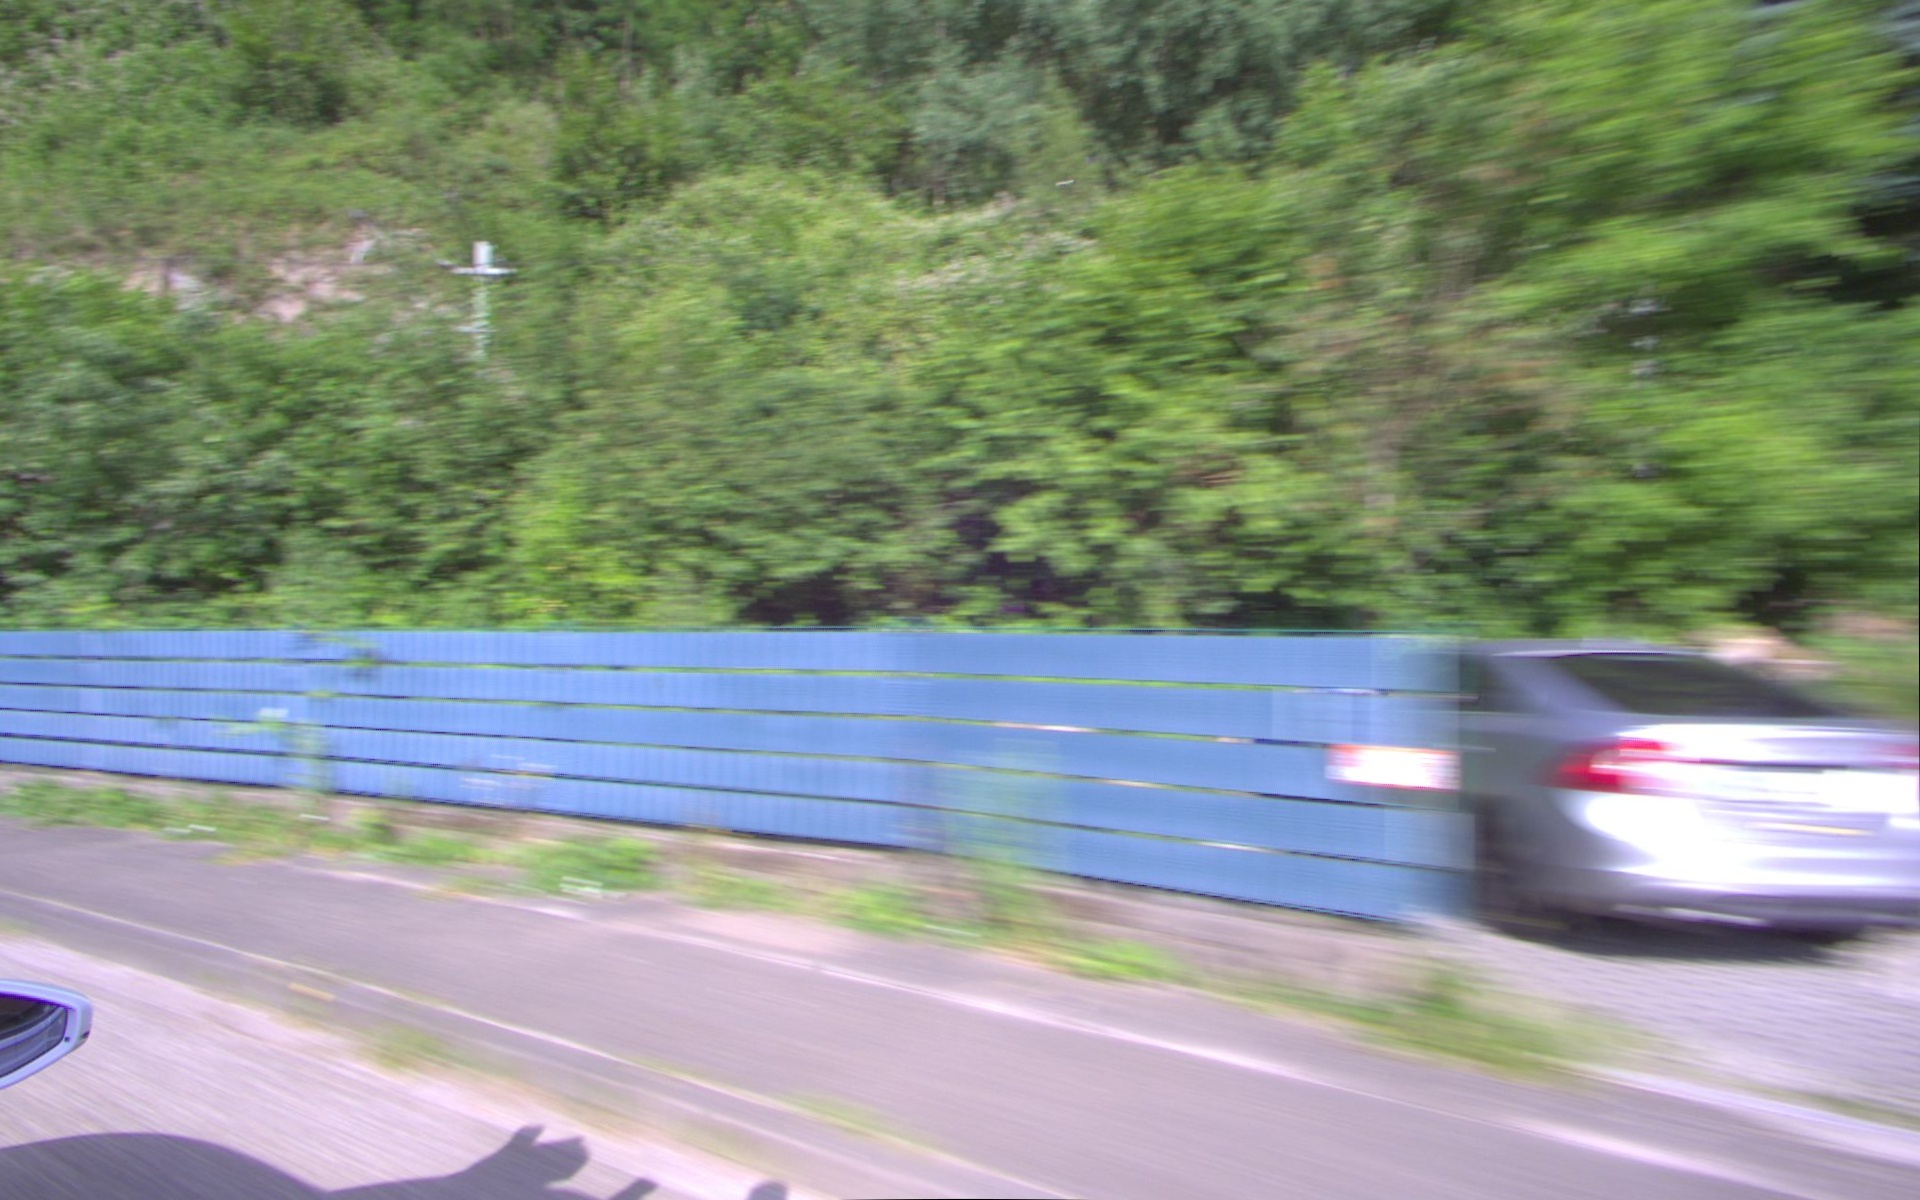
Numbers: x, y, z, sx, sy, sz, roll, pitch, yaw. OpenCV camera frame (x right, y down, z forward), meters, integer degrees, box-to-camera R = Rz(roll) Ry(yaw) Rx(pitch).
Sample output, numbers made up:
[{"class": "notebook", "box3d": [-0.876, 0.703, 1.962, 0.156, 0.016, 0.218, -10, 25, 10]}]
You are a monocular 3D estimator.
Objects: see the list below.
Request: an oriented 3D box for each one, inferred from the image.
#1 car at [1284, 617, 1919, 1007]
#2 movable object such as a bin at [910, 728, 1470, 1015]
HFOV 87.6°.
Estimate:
[{"class": "car", "box3d": [3.461, 0.926, 6.135, 1.802, 1.487, 4.332, 2, -2, 4]}, {"class": "movable object such as a bin", "box3d": [0.966, 1.133, 4.789, 2.509, 0.858, 0.851, -2, -4, 41]}]
